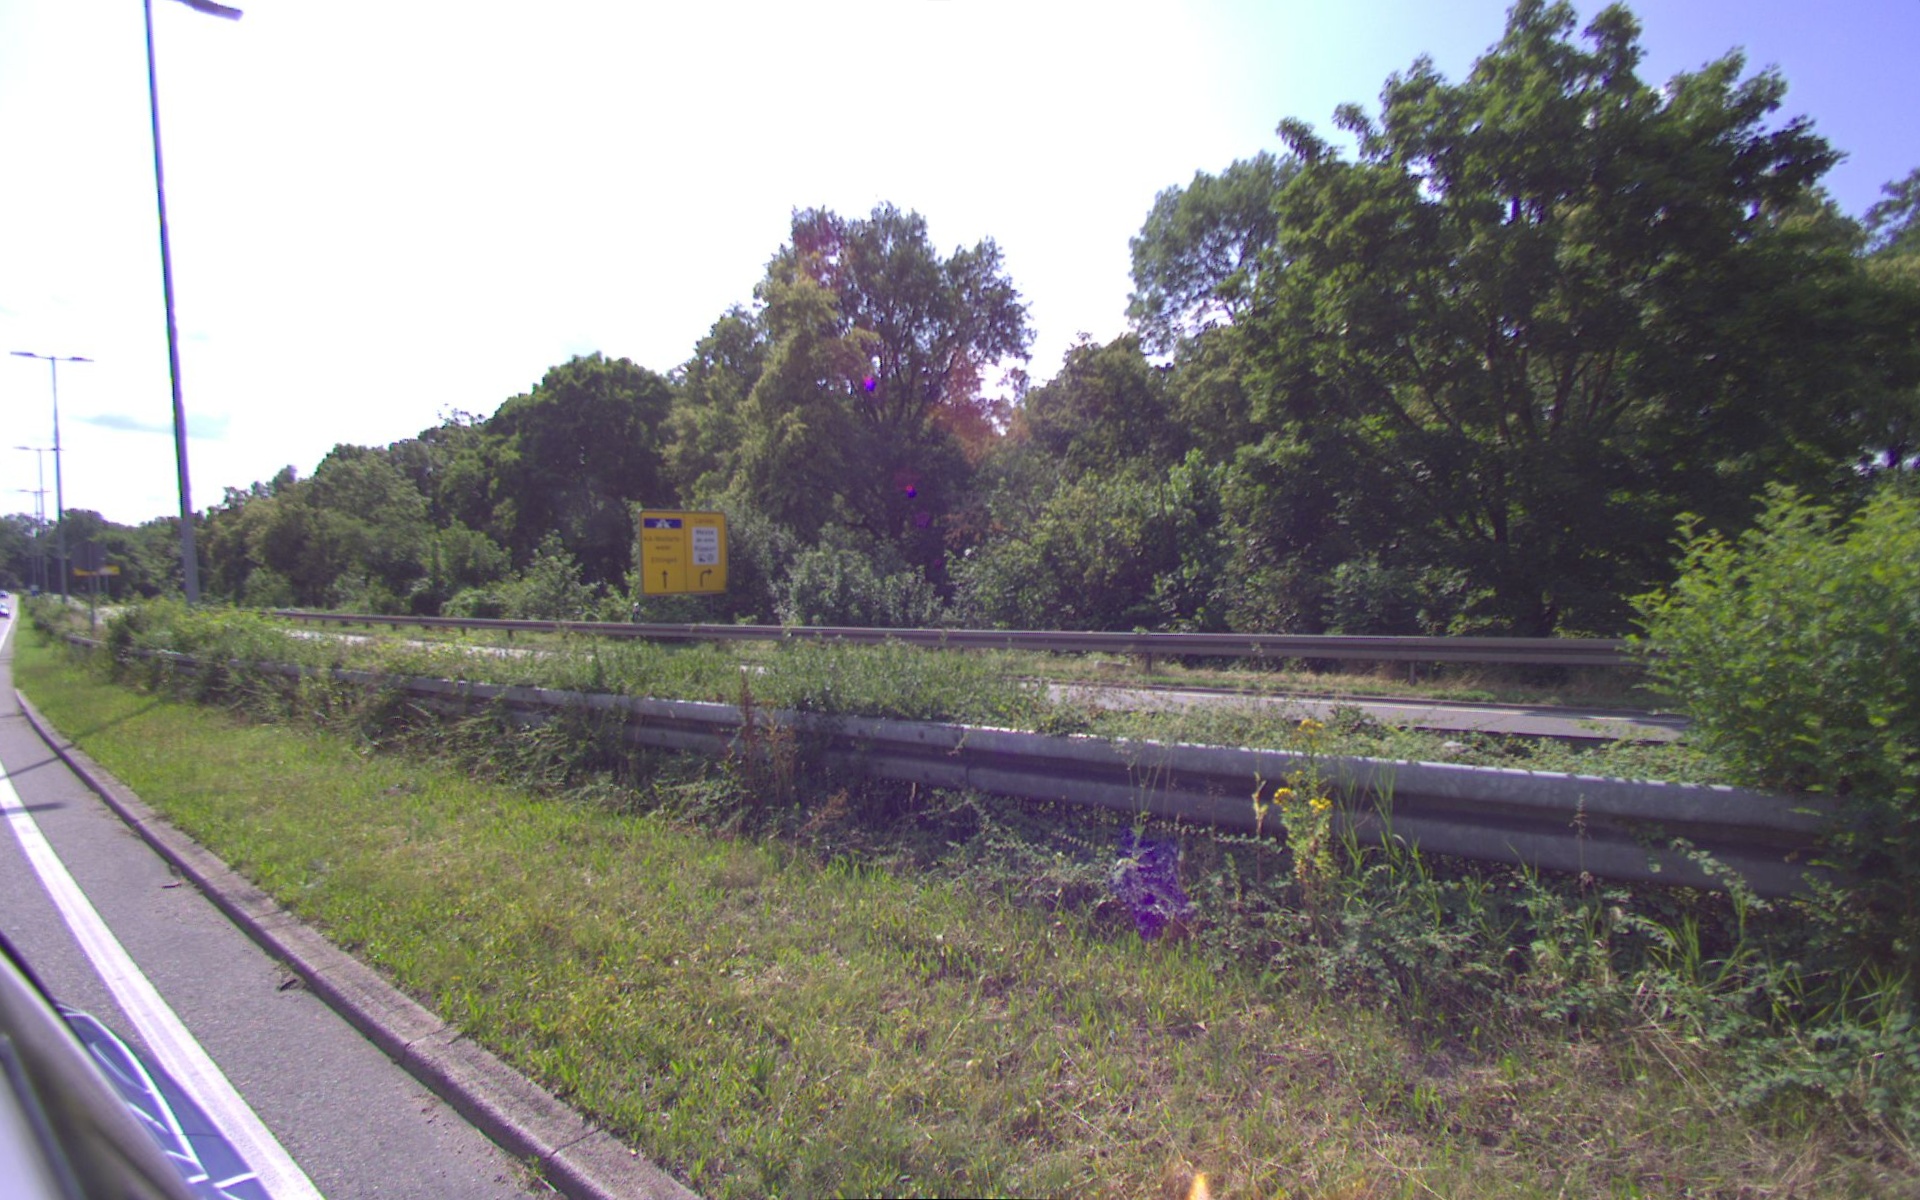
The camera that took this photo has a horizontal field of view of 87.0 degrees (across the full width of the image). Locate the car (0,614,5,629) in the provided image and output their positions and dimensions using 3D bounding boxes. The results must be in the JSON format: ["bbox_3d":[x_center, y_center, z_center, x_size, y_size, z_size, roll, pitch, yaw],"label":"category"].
[{"bbox_3d":[-88.608,1.981,92.529,1.771,1.386,4.004,-2,0,-42],"label":"car"}]
